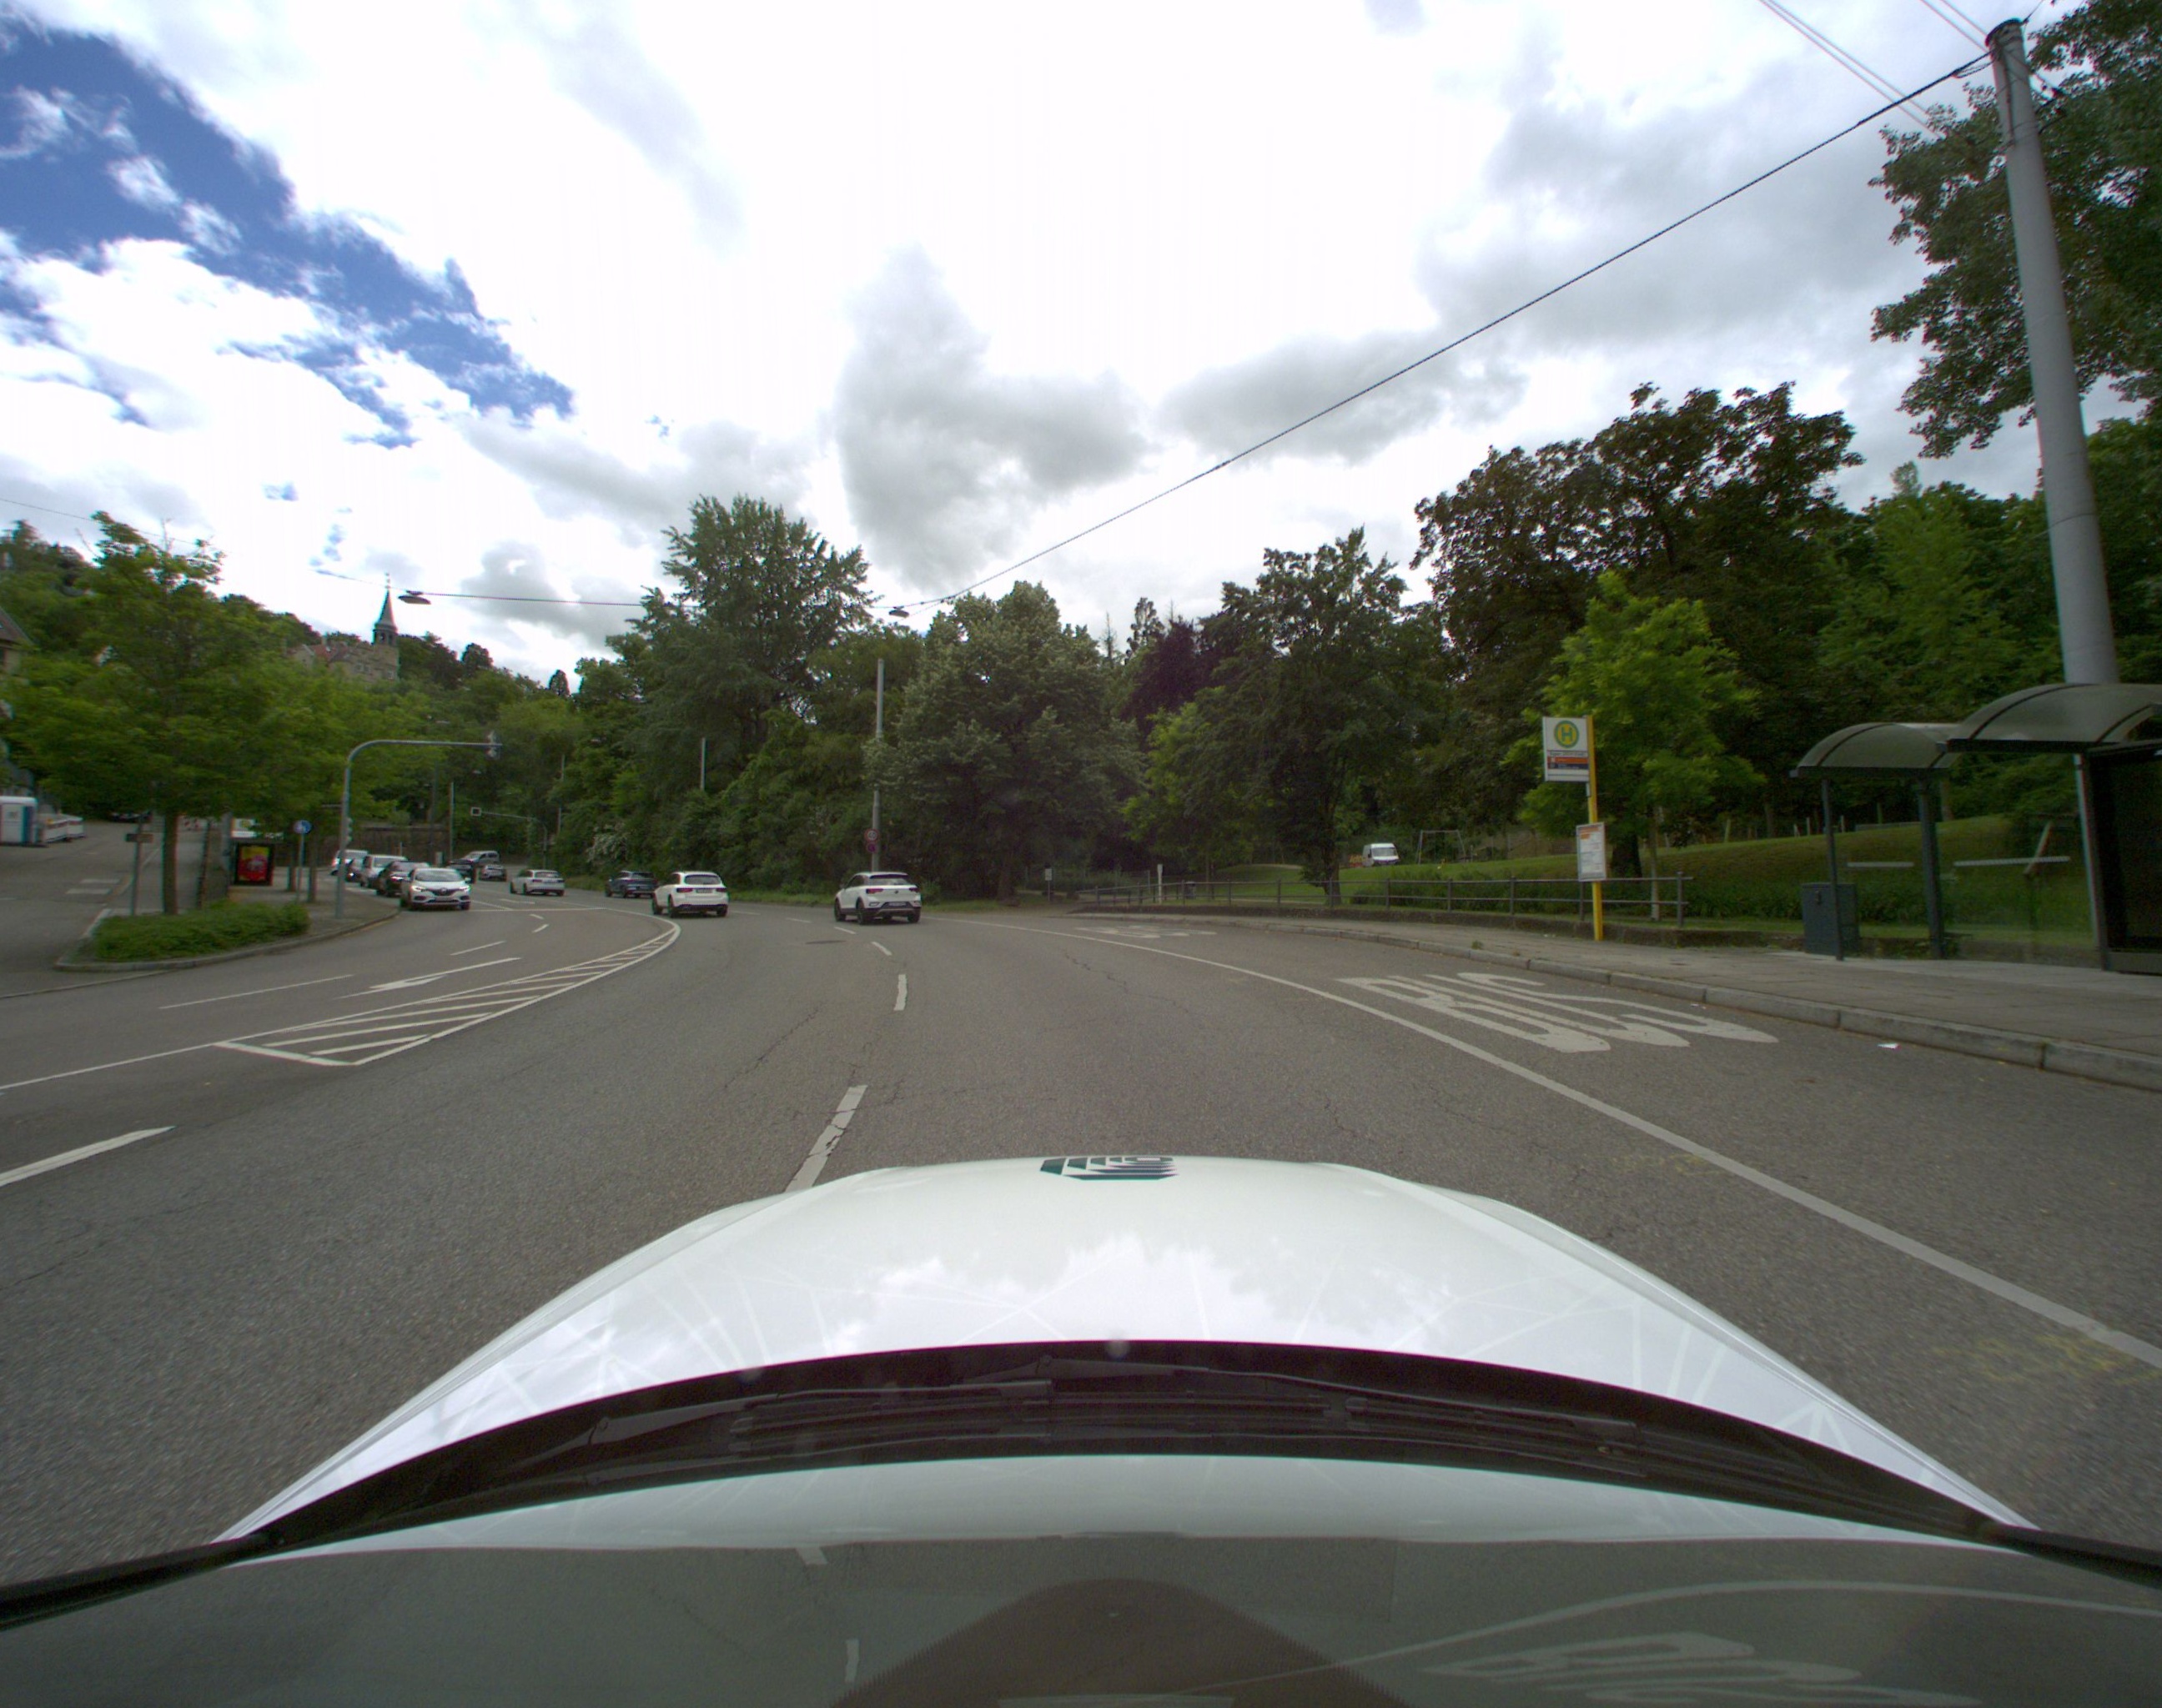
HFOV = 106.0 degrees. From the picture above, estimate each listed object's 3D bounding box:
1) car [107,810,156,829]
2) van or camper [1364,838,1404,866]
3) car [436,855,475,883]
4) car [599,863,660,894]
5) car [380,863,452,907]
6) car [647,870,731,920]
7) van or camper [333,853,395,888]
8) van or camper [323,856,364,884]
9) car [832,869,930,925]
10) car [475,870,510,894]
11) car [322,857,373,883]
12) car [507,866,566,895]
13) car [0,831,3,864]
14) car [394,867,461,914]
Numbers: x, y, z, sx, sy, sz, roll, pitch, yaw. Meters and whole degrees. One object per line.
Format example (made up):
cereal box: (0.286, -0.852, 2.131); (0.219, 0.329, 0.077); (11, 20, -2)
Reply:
car: (-71.786, -2.605, 61.628); (1.563, 1.279, 3.560); (1, -1, -35)
van or camper: (23.573, -0.137, 63.538); (2.287, 2.013, 5.462); (-1, 0, 14)
car: (-47.736, 1.167, 62.209); (2.206, 2.014, 3.956); (-1, -1, -36)
car: (-25.749, 1.396, 46.367); (3.909, 1.632, 1.878); (-2, 0, 42)
car: (-30.150, 1.359, 36.874); (4.699, 1.791, 1.913); (-1, 0, 43)
car: (-14.378, 1.450, 29.759); (1.892, 1.652, 4.291); (0, -1, -38)
van or camper: (-41.116, 0.933, 46.656); (5.388, 1.896, 2.012); (0, -3, 42)
van or camper: (-56.475, 1.240, 62.330); (2.011, 2.014, 5.492); (3, -3, -45)
car: (-6.262, 1.287, 25.189); (1.877, 1.556, 3.856); (-1, -2, -31)
car: (-51.483, 2.402, 71.308); (2.005, 2.014, 3.963); (-1, -1, -28)
car: (-46.454, 0.999, 51.546); (3.940, 1.521, 2.011); (0, -3, 43)
car: (-31.236, 1.498, 46.688); (2.266, 1.519, 4.256); (2, -2, -41)
car: (-37.533, 0.036, 26.616); (2.010, 1.574, 3.953); (5, 0, -43)
car: (-25.476, 1.345, 31.708); (1.912, 1.654, 4.324); (-1, 0, -40)
